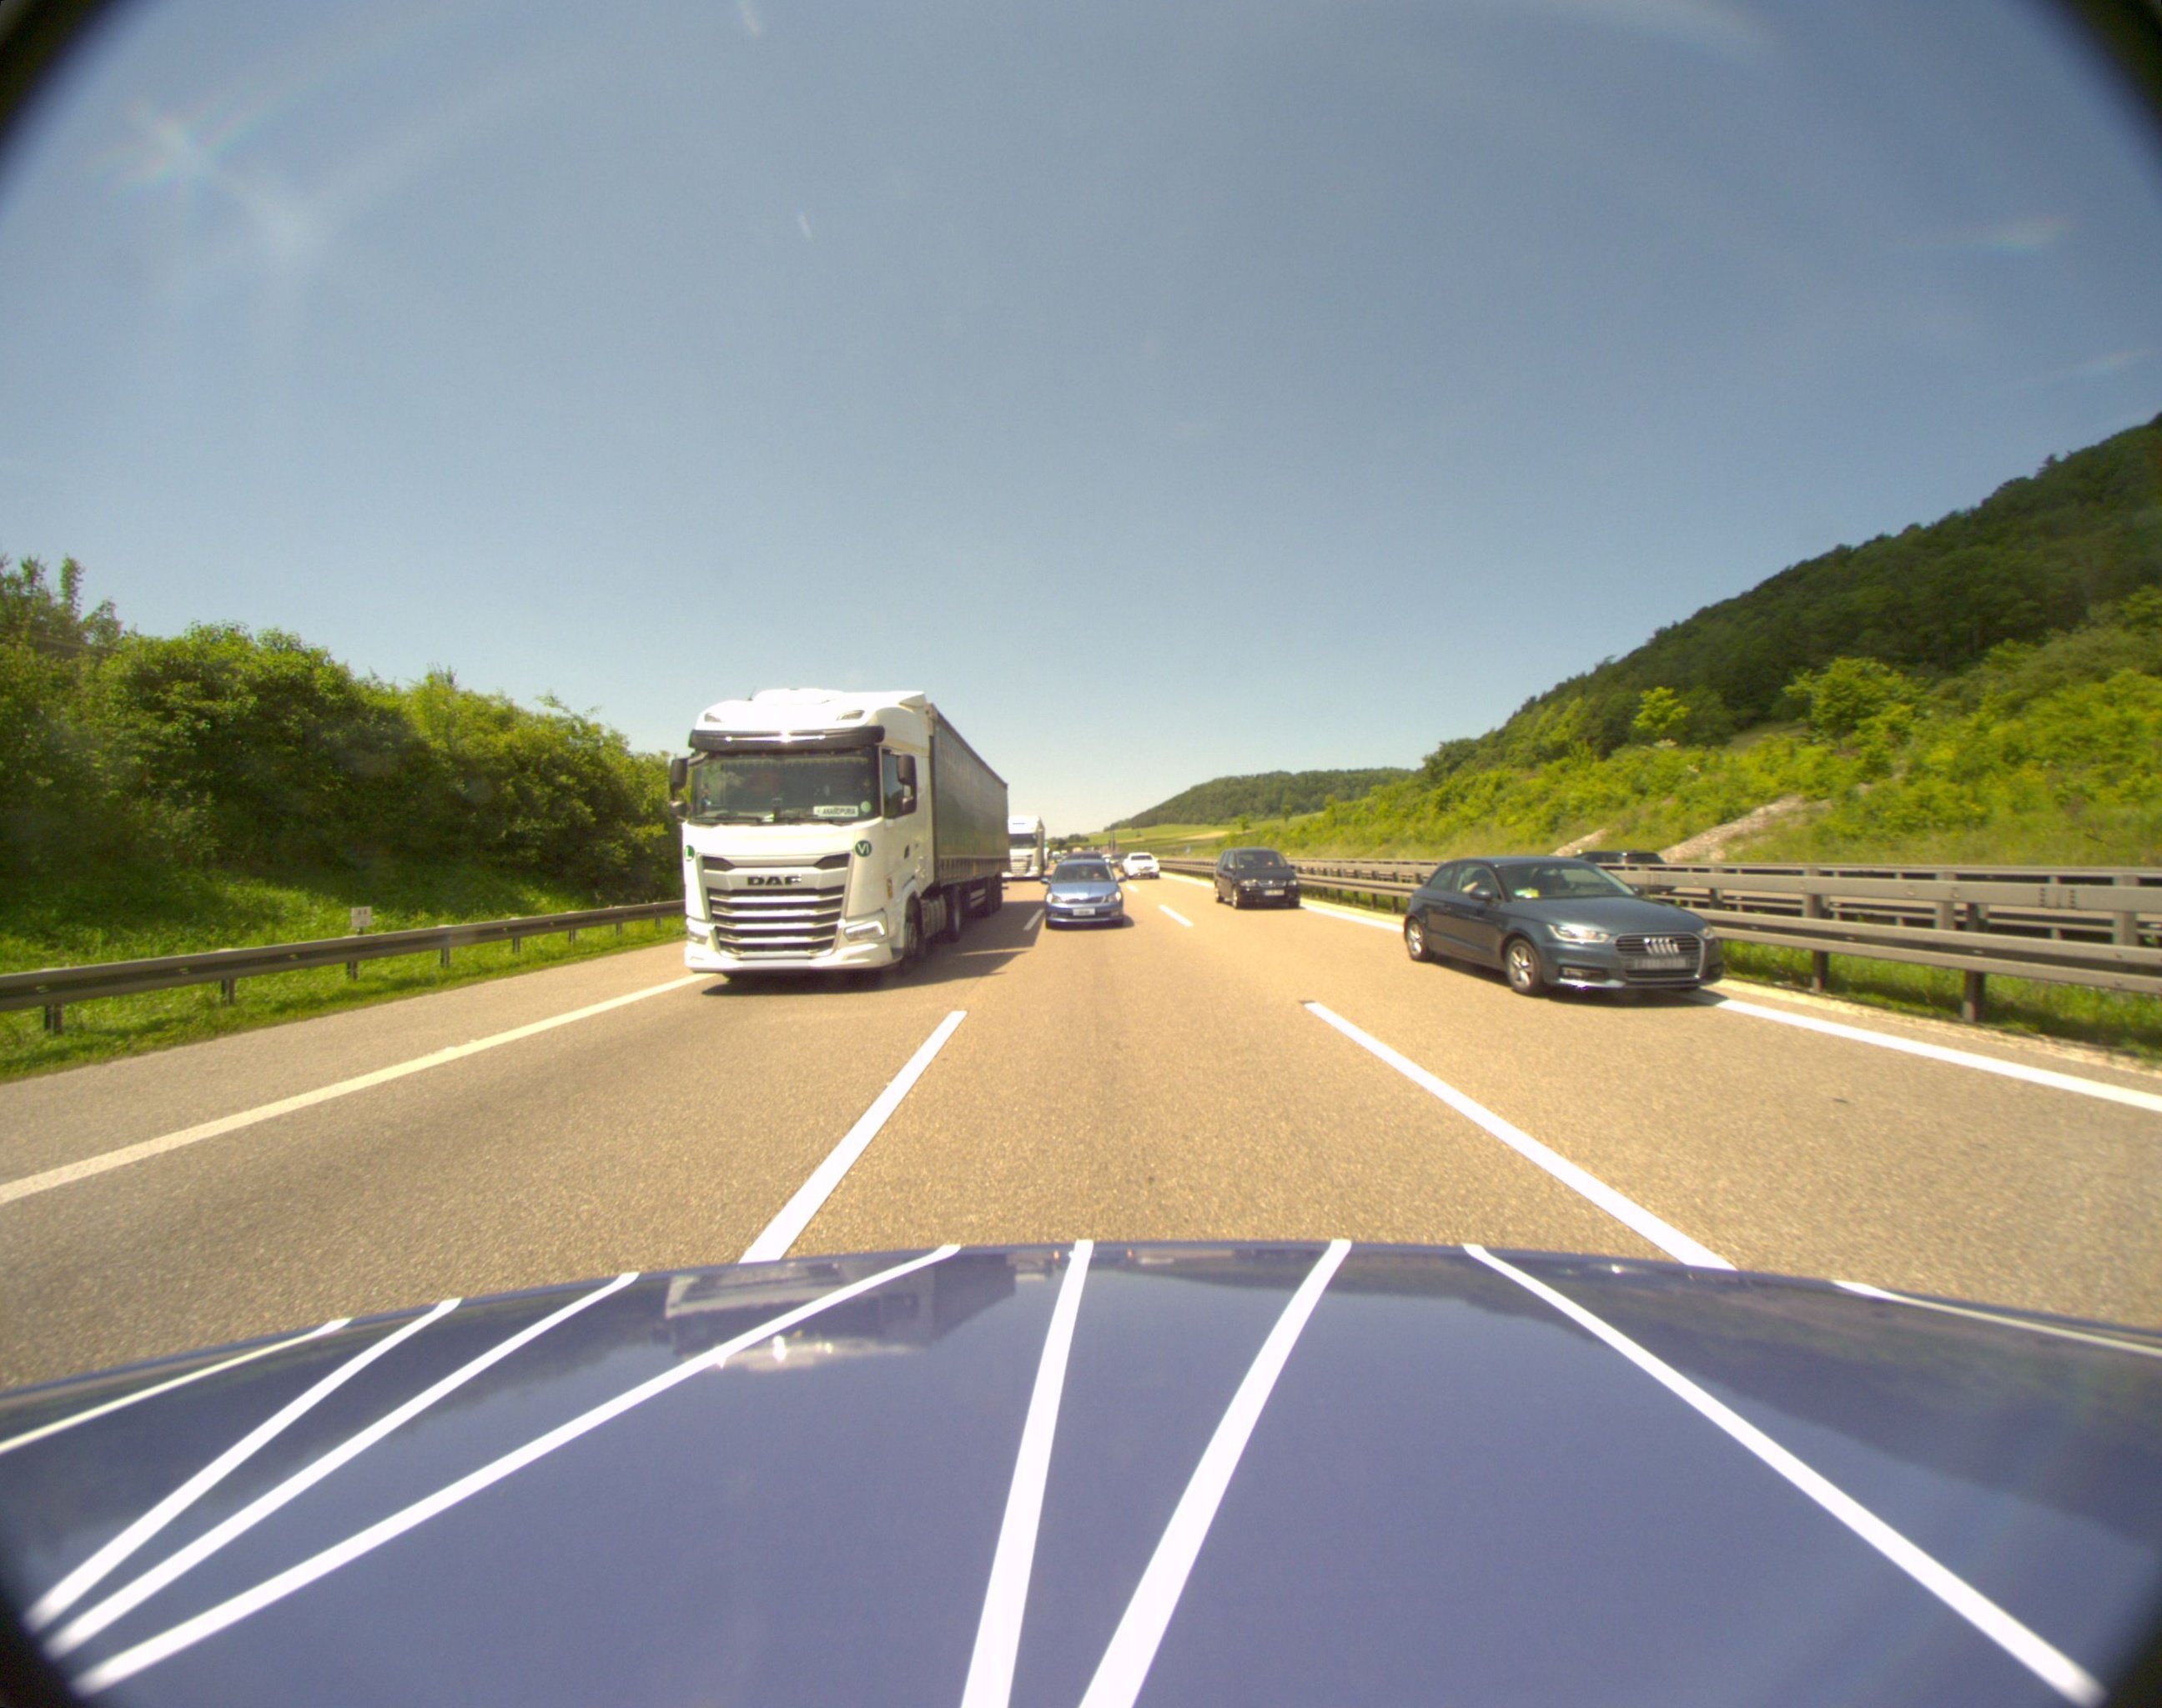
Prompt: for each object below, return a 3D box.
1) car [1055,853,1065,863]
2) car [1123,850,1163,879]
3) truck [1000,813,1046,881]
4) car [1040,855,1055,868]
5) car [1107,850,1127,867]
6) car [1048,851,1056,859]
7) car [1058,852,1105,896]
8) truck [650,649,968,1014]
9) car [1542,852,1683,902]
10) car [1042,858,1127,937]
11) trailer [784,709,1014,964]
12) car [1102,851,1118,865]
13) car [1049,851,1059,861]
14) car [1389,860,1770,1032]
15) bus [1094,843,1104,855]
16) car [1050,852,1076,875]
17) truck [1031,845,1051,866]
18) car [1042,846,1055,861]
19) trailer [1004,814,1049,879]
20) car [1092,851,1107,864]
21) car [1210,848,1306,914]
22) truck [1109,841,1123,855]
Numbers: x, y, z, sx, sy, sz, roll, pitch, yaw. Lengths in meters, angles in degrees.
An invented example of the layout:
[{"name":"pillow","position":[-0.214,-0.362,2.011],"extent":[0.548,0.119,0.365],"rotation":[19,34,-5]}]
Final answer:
[{"name":"car","position":[-4.516,0.751,161.310],"extent":[1.998,2.002,3.999],"rotation":[-2,1,0]},{"name":"car","position":[3.739,0.613,46.542],"extent":[1.999,1.612,3.999],"rotation":[-2,1,-1]},{"name":"truck","position":[-3.708,-0.487,49.482],"extent":[2.531,4.065,6.078],"rotation":[-2,1,-2]},{"name":"car","position":[-4.420,0.970,99.872],"extent":[1.778,1.655,3.999],"rotation":[-2,1,0]},{"name":"car","position":[3.849,0.473,81.192],"extent":[1.998,1.702,4.000],"rotation":[-2,1,3]},{"name":"car","position":[-7.752,0.337,204.449],"extent":[1.998,2.002,3.999],"rotation":[-2,1,0]},{"name":"car","position":[0.067,0.760,31.184],"extent":[1.736,1.674,4.198],"rotation":[-1,0,2]},{"name":"truck","position":[-3.447,-0.260,11.512],"extent":[2.484,3.954,6.380],"rotation":[-1,0,-1]},{"name":"car","position":[15.988,0.643,23.106],"extent":[1.695,1.360,3.741],"rotation":[-1,0,1]},{"name":"car","position":[0.070,0.877,17.417],"extent":[1.660,1.481,4.653],"rotation":[-1,0,0]},{"name":"trailer","position":[-3.461,-0.309,18.801],"extent":[2.484,3.954,13.653],"rotation":[-1,0,-1]},{"name":"car","position":[3.783,0.522,98.054],"extent":[1.998,1.702,4.000],"rotation":[-2,1,3]},{"name":"car","position":[-5.618,0.466,159.444],"extent":[1.998,2.002,3.999],"rotation":[-2,1,0]},{"name":"car","position":[5.082,0.807,8.503],"extent":[1.692,1.380,4.000],"rotation":[-1,0,1]},{"name":"bus","position":[5.450,-1.558,237.560],"extent":[2.686,3.640,14.815],"rotation":[-1,0,0]},{"name":"car","position":[-1.491,0.766,63.553],"extent":[1.998,1.702,3.999],"rotation":[-2,1,0]},{"name":"truck","position":[-4.624,0.163,89.333],"extent":[1.835,2.267,6.594],"rotation":[-2,1,1]},{"name":"car","position":[-4.878,-0.059,114.285],"extent":[1.778,2.177,3.999],"rotation":[-2,1,0]},{"name":"trailer","position":[-3.819,-0.571,55.618],"extent":[2.544,4.085,13.624],"rotation":[-2,1,-2]},{"name":"car","position":[2.718,0.551,108.939],"extent":[1.998,1.702,4.000],"rotation":[-2,1,3]},{"name":"car","position":[4.795,0.657,21.211],"extent":[1.805,1.625,4.446],"rotation":[-1,0,2]},{"name":"truck","position":[10.445,-1.680,229.261],"extent":[3.627,4.079,9.921],"rotation":[-1,0,0]}]
